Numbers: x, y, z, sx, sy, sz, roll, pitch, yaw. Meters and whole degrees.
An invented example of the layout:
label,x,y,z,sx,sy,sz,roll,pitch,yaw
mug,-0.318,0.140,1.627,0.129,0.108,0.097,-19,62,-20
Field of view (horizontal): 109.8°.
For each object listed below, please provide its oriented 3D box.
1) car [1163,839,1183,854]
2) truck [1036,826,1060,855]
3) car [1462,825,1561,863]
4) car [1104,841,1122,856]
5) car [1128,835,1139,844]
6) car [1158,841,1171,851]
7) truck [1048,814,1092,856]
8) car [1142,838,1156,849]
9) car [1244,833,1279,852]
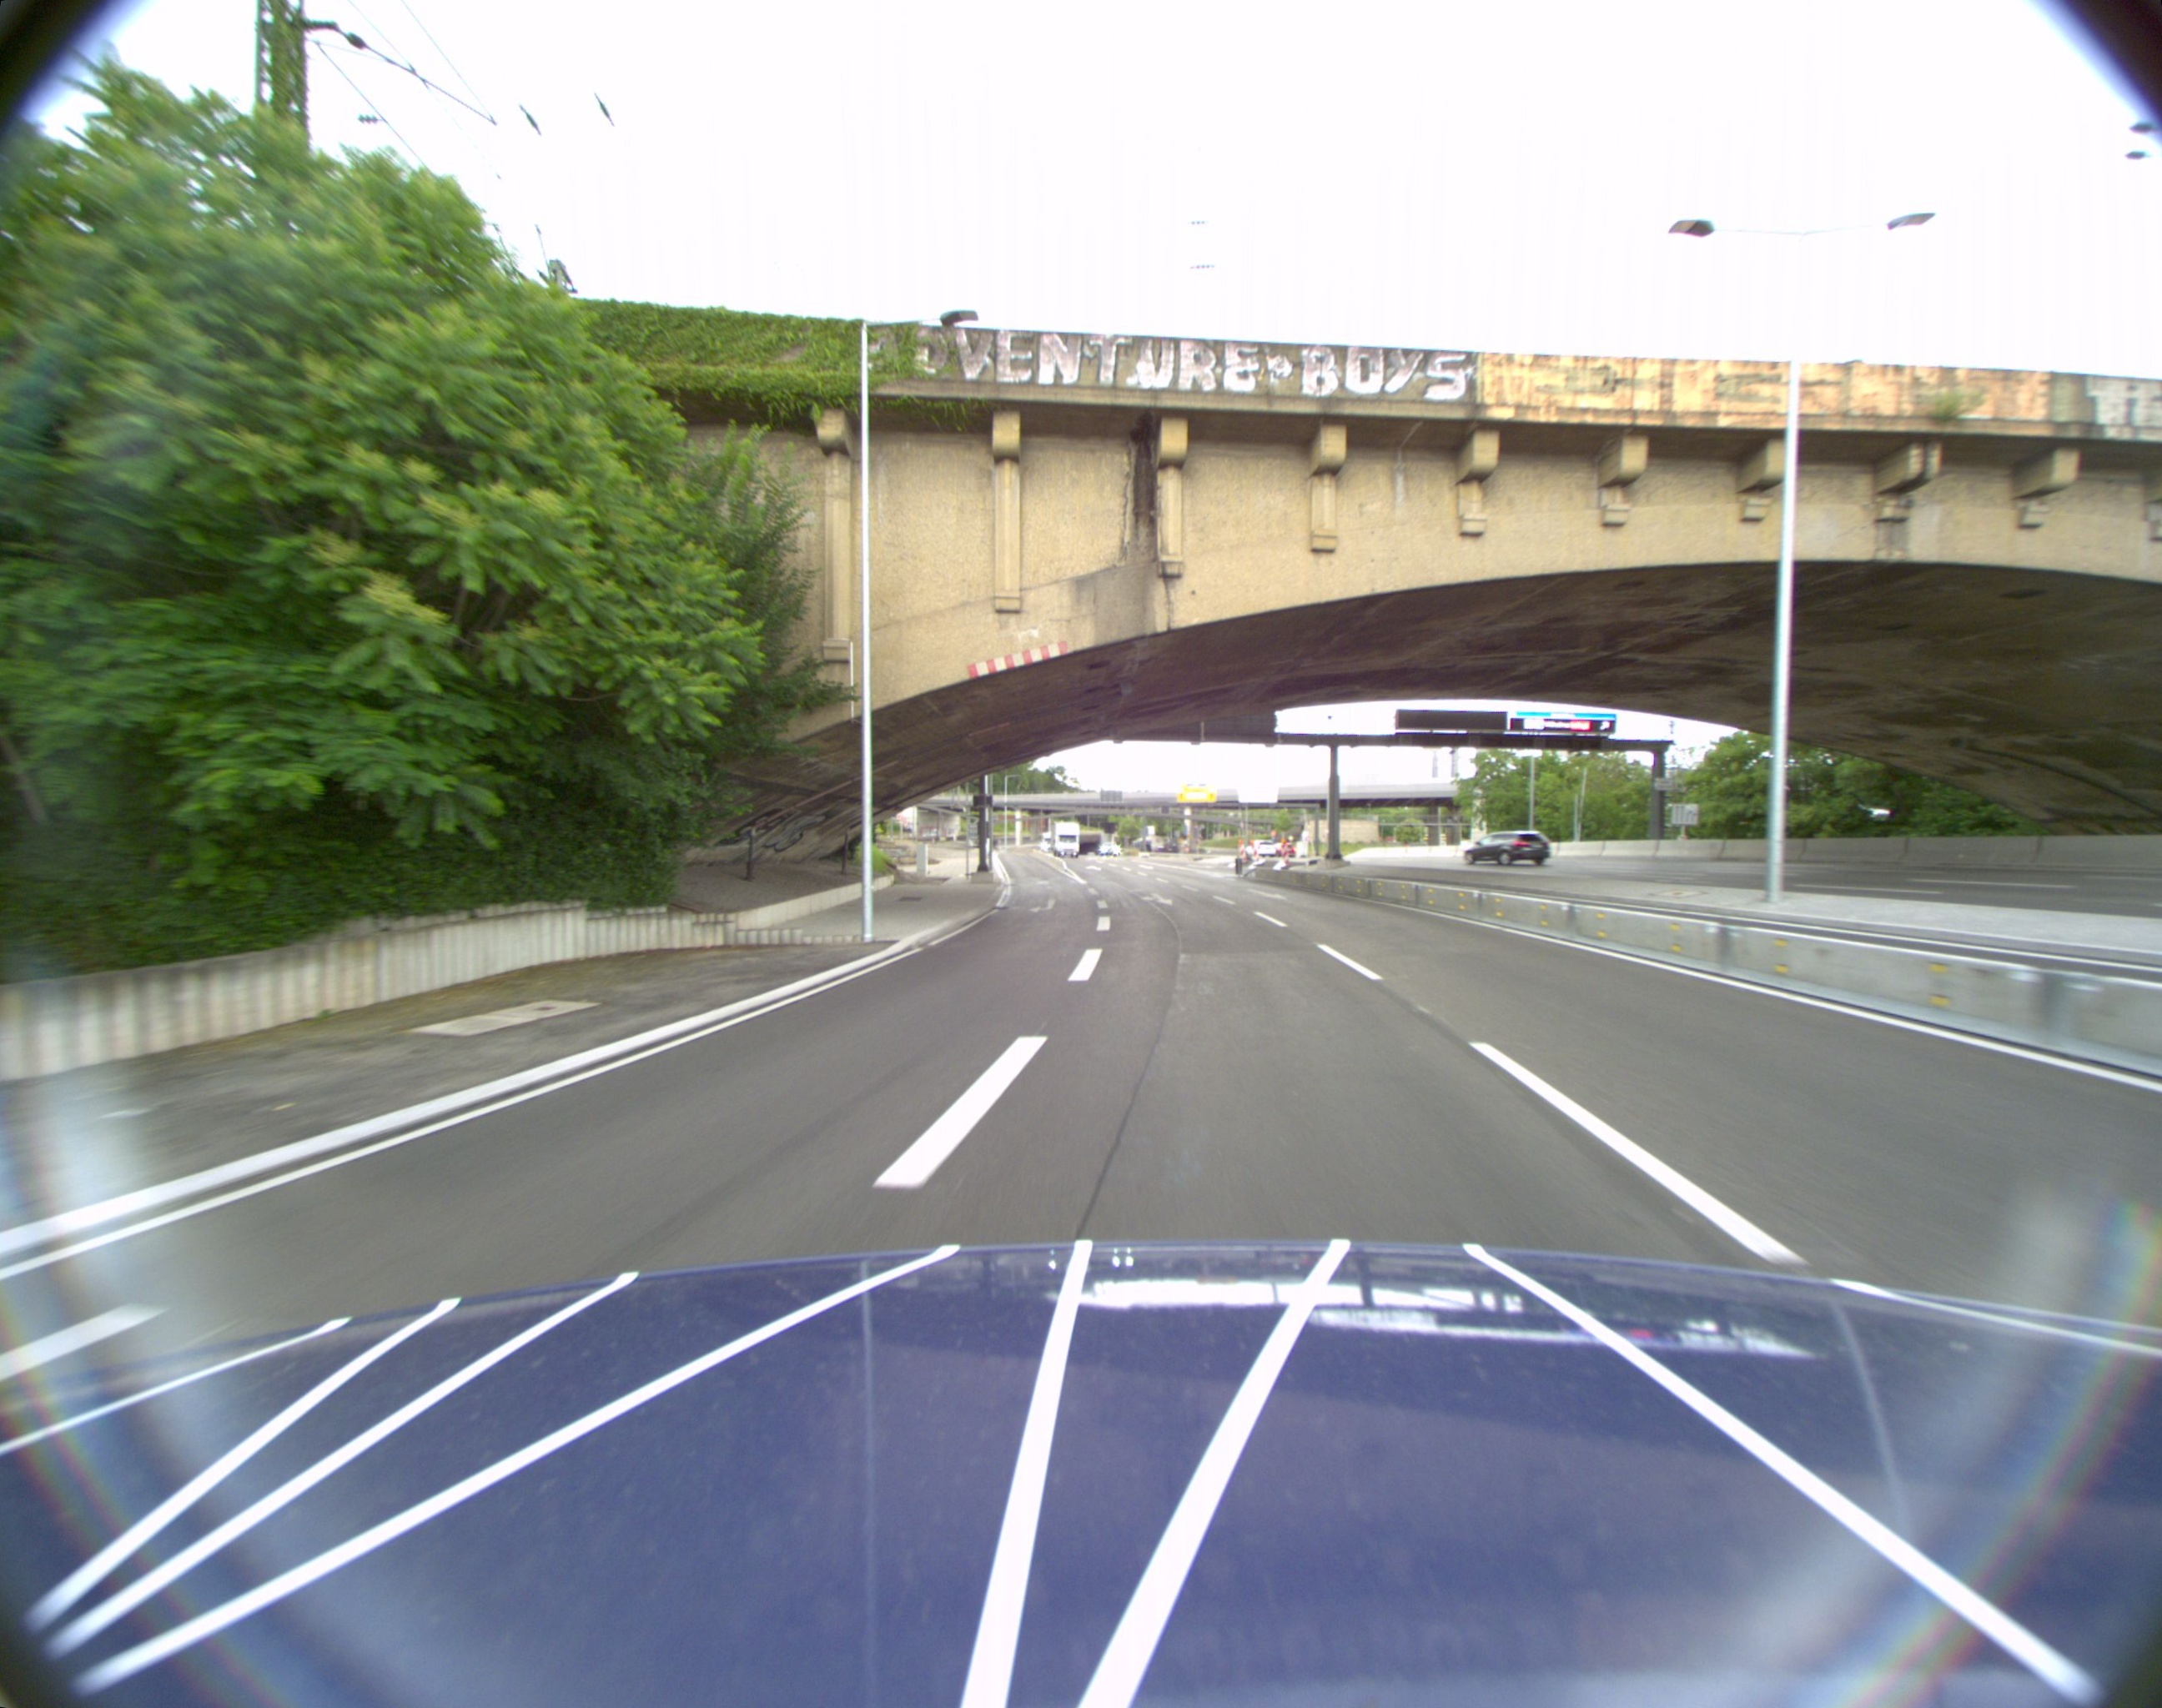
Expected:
label,x,y,z,sx,sy,sz,roll,pitch,yaw
car,15.511,-1.248,128.023,2.296,2.476,6.193,-2,1,-3
truck,-4.431,-1.779,100.773,2.575,3.548,9.109,-1,1,-5
car,19.487,-0.456,34.642,1.822,1.528,4.398,-2,1,-4
car,3.849,-0.688,92.958,1.868,1.827,4.204,-1,1,-2
car,9.198,-2.504,133.553,1.639,1.455,3.999,-4,1,0
car,16.666,-1.569,152.120,1.999,1.805,3.998,-2,1,-2
truck,-1.151,-1.670,71.945,3.034,3.566,8.945,-4,1,-6
car,13.001,-1.984,144.890,2.019,1.964,4.717,-2,1,-3
car,16.113,-1.025,68.093,1.842,1.528,4.399,-2,1,-3
